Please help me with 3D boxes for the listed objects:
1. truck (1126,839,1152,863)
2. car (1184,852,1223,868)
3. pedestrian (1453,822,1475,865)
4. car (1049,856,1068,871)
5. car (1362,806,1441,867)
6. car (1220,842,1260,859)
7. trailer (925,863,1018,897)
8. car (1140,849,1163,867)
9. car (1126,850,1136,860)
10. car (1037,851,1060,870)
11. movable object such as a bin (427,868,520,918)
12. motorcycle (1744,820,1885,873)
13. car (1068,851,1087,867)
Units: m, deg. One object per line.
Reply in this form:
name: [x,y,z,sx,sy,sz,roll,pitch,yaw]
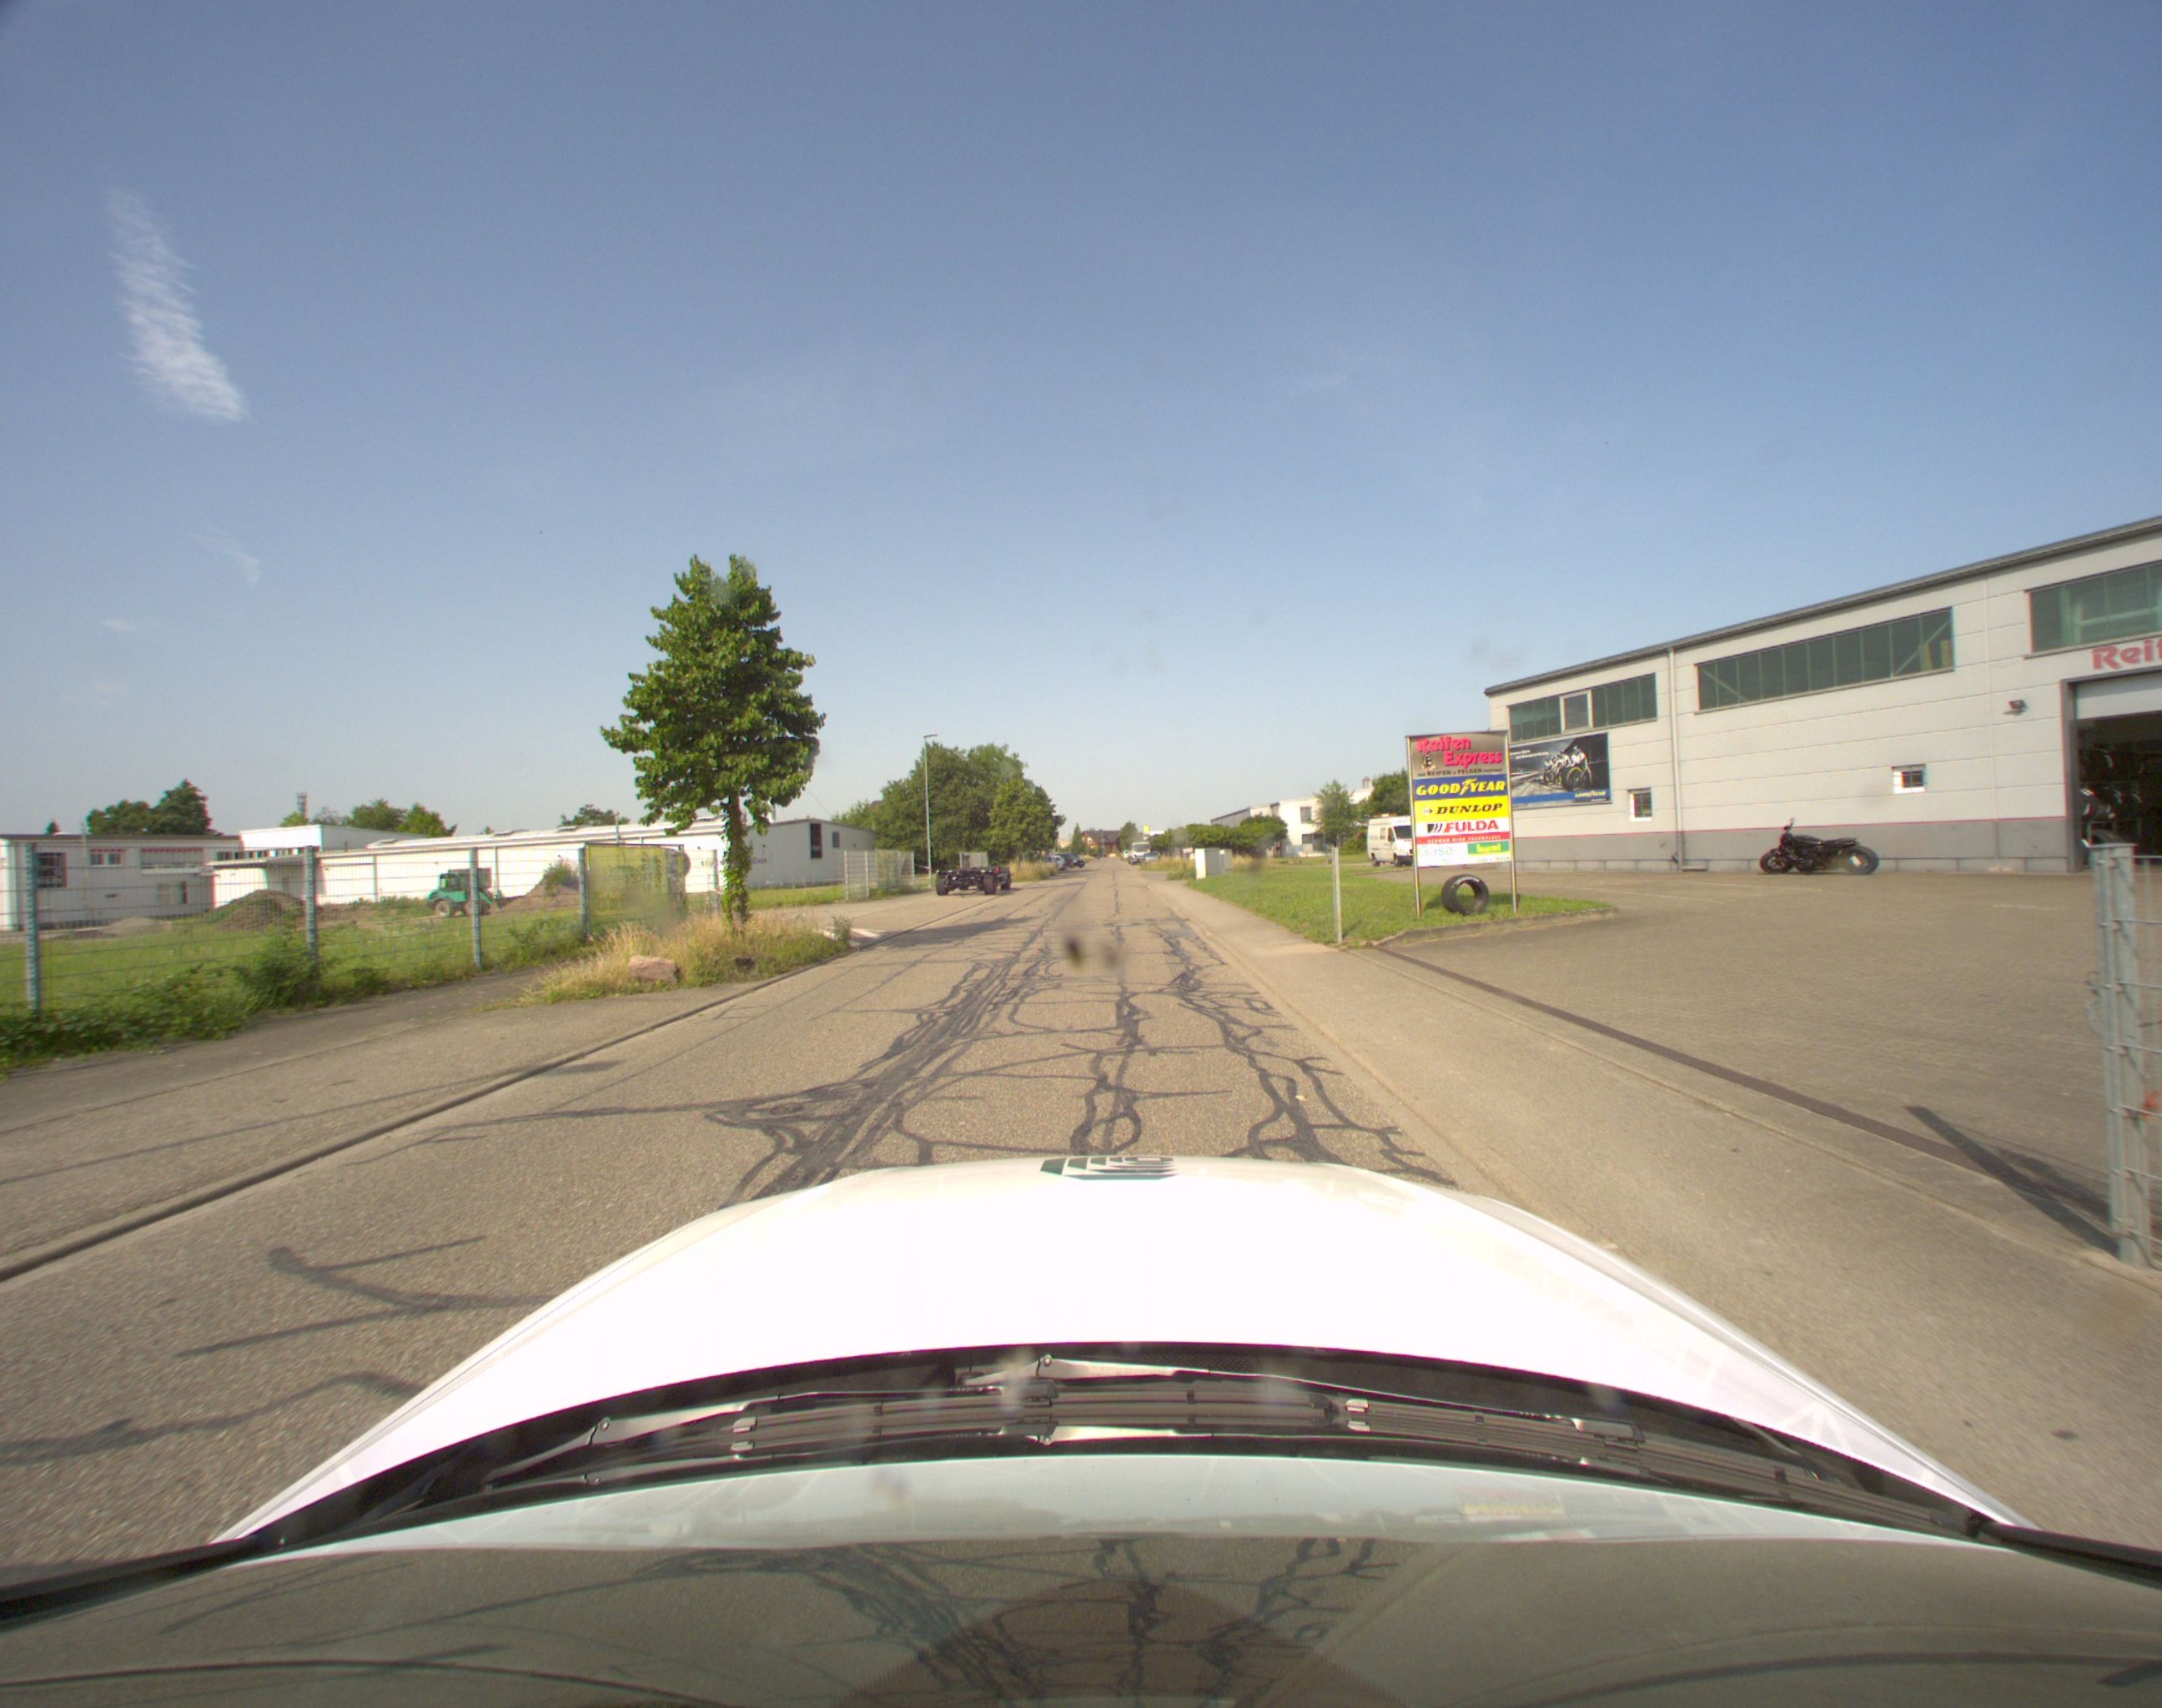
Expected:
truck: [6.837,-0.360,96.492,2.353,2.681,6.507,-3,0,-1]
car: [12.255,0.619,81.455,3.716,1.380,1.668,-3,0,-38]
pedestrian: [14.910,-0.412,31.703,0.696,1.640,0.753,-3,0,27]
car: [-2.274,0.936,83.519,1.677,1.469,4.256,-1,0,2]
car: [15.699,-0.836,40.259,1.964,2.705,5.890,-3,0,6]
car: [16.544,-0.380,84.691,4.559,1.589,1.667,-3,0,-43]
trailer: [-4.647,1.068,36.549,2.573,1.184,9.367,-1,0,2]
car: [6.270,0.357,72.922,1.787,1.517,4.426,-3,0,2]
car: [9.795,0.143,158.740,1.830,1.923,3.758,-4,0,2]
car: [-2.898,0.562,73.942,1.559,1.538,3.693,-3,0,5]
movable object such as a bin: [-32.659,2.098,43.804,4.251,2.456,2.266,-3,0,27]
motorcycle: [16.243,-0.143,18.114,0.804,1.094,2.186,-3,0,-22]
car: [-0.412,0.528,96.512,1.848,1.714,4.230,-4,0,3]
